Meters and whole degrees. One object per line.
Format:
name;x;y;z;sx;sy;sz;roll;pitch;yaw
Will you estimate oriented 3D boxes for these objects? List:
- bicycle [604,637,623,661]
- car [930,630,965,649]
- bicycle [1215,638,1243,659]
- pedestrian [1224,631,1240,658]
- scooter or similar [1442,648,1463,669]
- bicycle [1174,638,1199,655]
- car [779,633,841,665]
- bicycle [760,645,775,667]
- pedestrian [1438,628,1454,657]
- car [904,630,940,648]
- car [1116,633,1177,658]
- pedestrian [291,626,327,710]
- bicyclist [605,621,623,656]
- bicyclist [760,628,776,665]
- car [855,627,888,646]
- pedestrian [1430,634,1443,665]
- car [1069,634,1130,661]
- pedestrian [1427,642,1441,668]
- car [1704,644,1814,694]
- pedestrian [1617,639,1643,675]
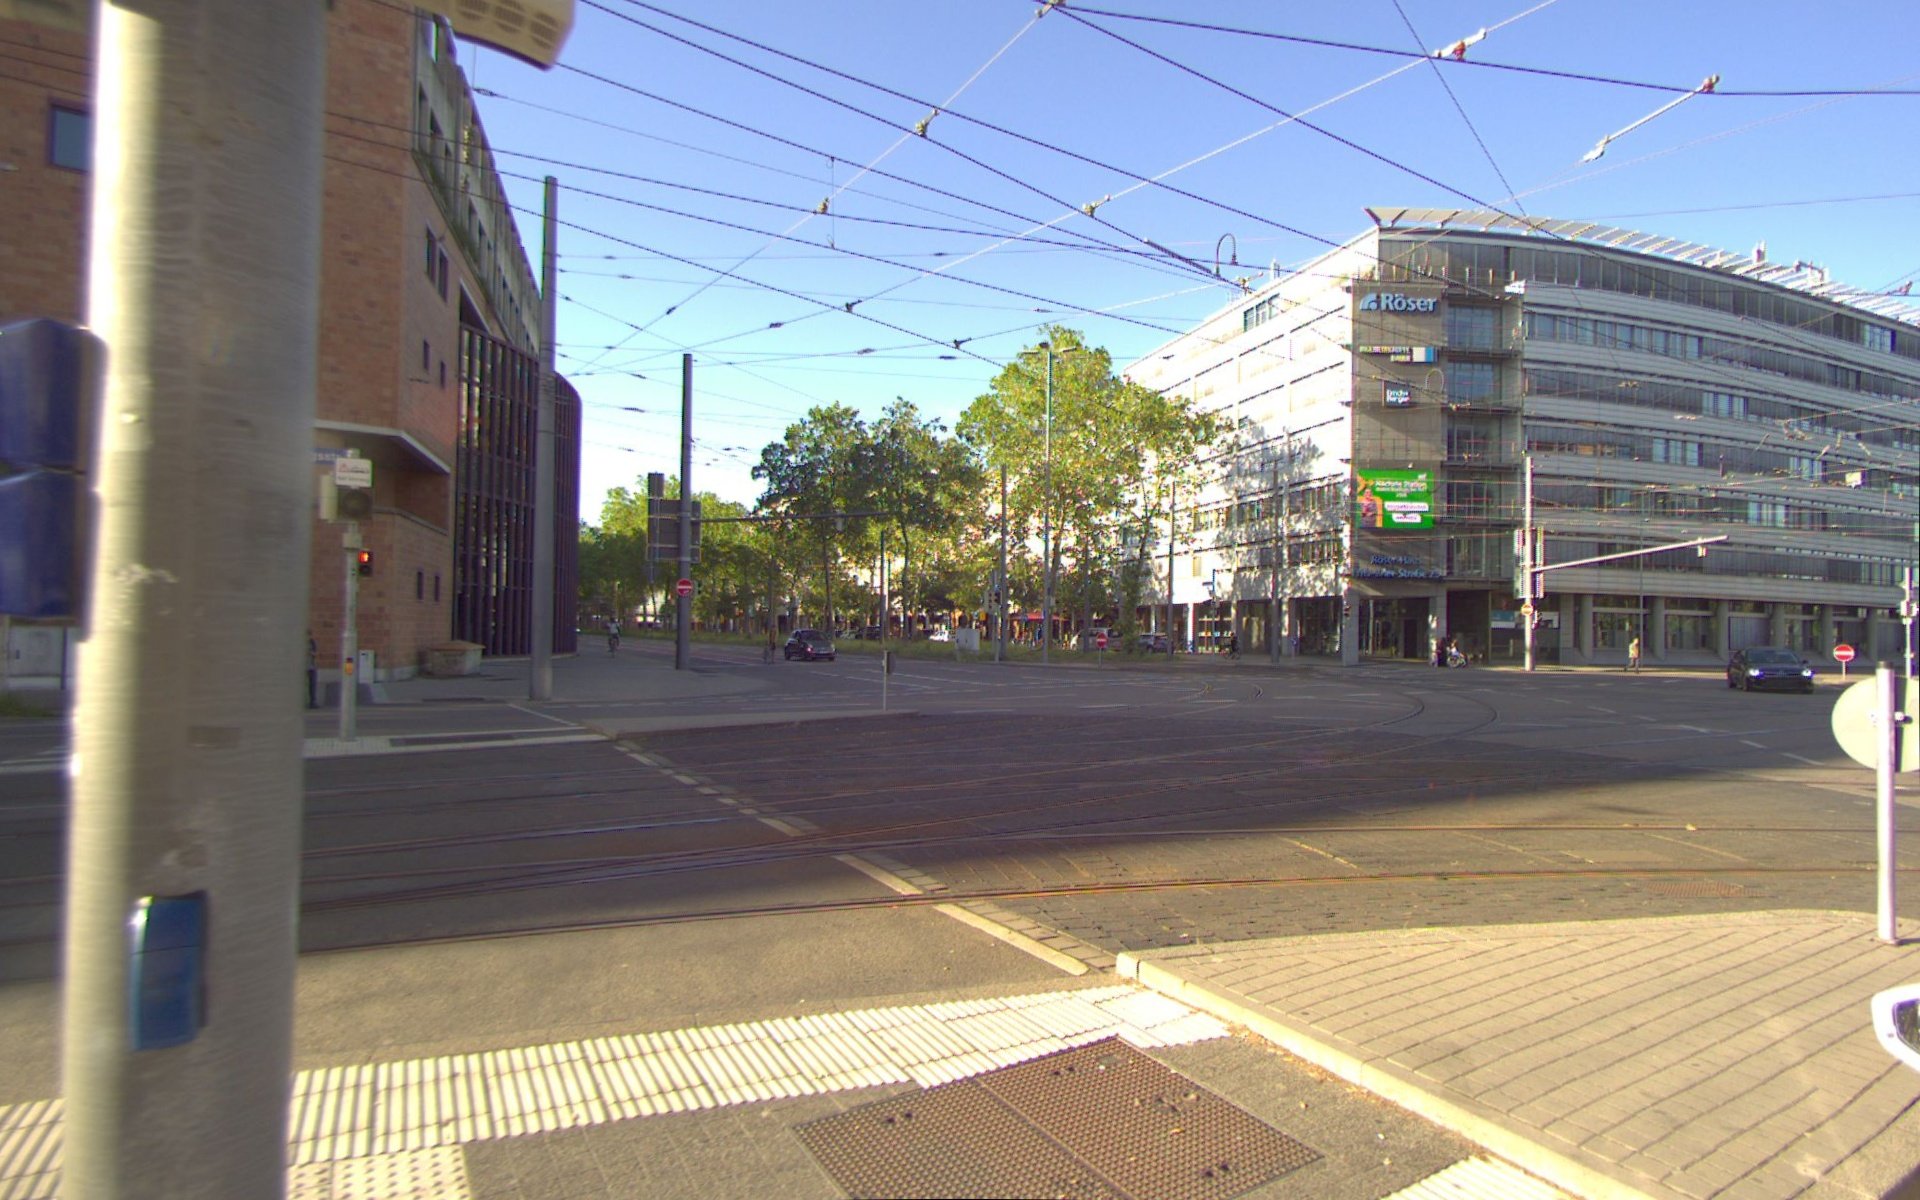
bicycle;-16.218;2.277;47.041;0.606;1.093;1.915;1;-2;-14
car;-1.236;3.682;94.240;1.840;1.659;3.843;1;-2;-26
bicycle;16.848;3.044;62.913;0.605;1.179;1.834;-2;1;-28
pedestrian;17.054;2.810;62.996;0.599;1.633;0.831;-2;1;-27
scooter or similar;27.488;3.238;56.060;1.001;1.144;0.549;0;-2;31
bicycle;16.136;3.344;71.611;1.813;1.167;0.467;0;-1;-24
car;-7.253;2.340;48.469;1.637;1.346;3.590;2;-1;-32
bicycle;-8.547;2.467;44.545;0.528;0.925;1.564;1;-2;-16
pedestrian;29.917;2.626;61.834;0.680;1.737;0.642;1;-1;-23
car;-3.762;3.834;99.454;1.969;1.650;4.054;1;-2;-29
car;12.709;3.071;68.618;1.840;1.593;4.387;-1;-1;-26
pedestrian;-13.045;1.360;20.114;0.501;1.638;0.504;2;-1;-41
bicyclist;-16.207;1.822;47.124;0.674;1.611;0.925;1;-2;-14
bicyclist;-8.507;2.049;44.485;0.614;1.643;0.812;2;-2;-16
car;-9.637;3.918;109.524;2.012;2.003;4.381;0;-1;-29
pedestrian;26.797;2.768;56.486;0.627;1.731;0.580;0;-1;30
car;10.153;3.442;73.408;1.905;1.868;4.888;-1;-1;-29
pedestrian;26.260;3.055;55.638;0.627;1.420;0.545;0;-1;30
car;26.526;2.237;33.513;1.763;1.485;4.309;-1;-2;23
pedestrian;34.724;2.958;52.036;0.665;1.847;0.884;1;-3;-10
